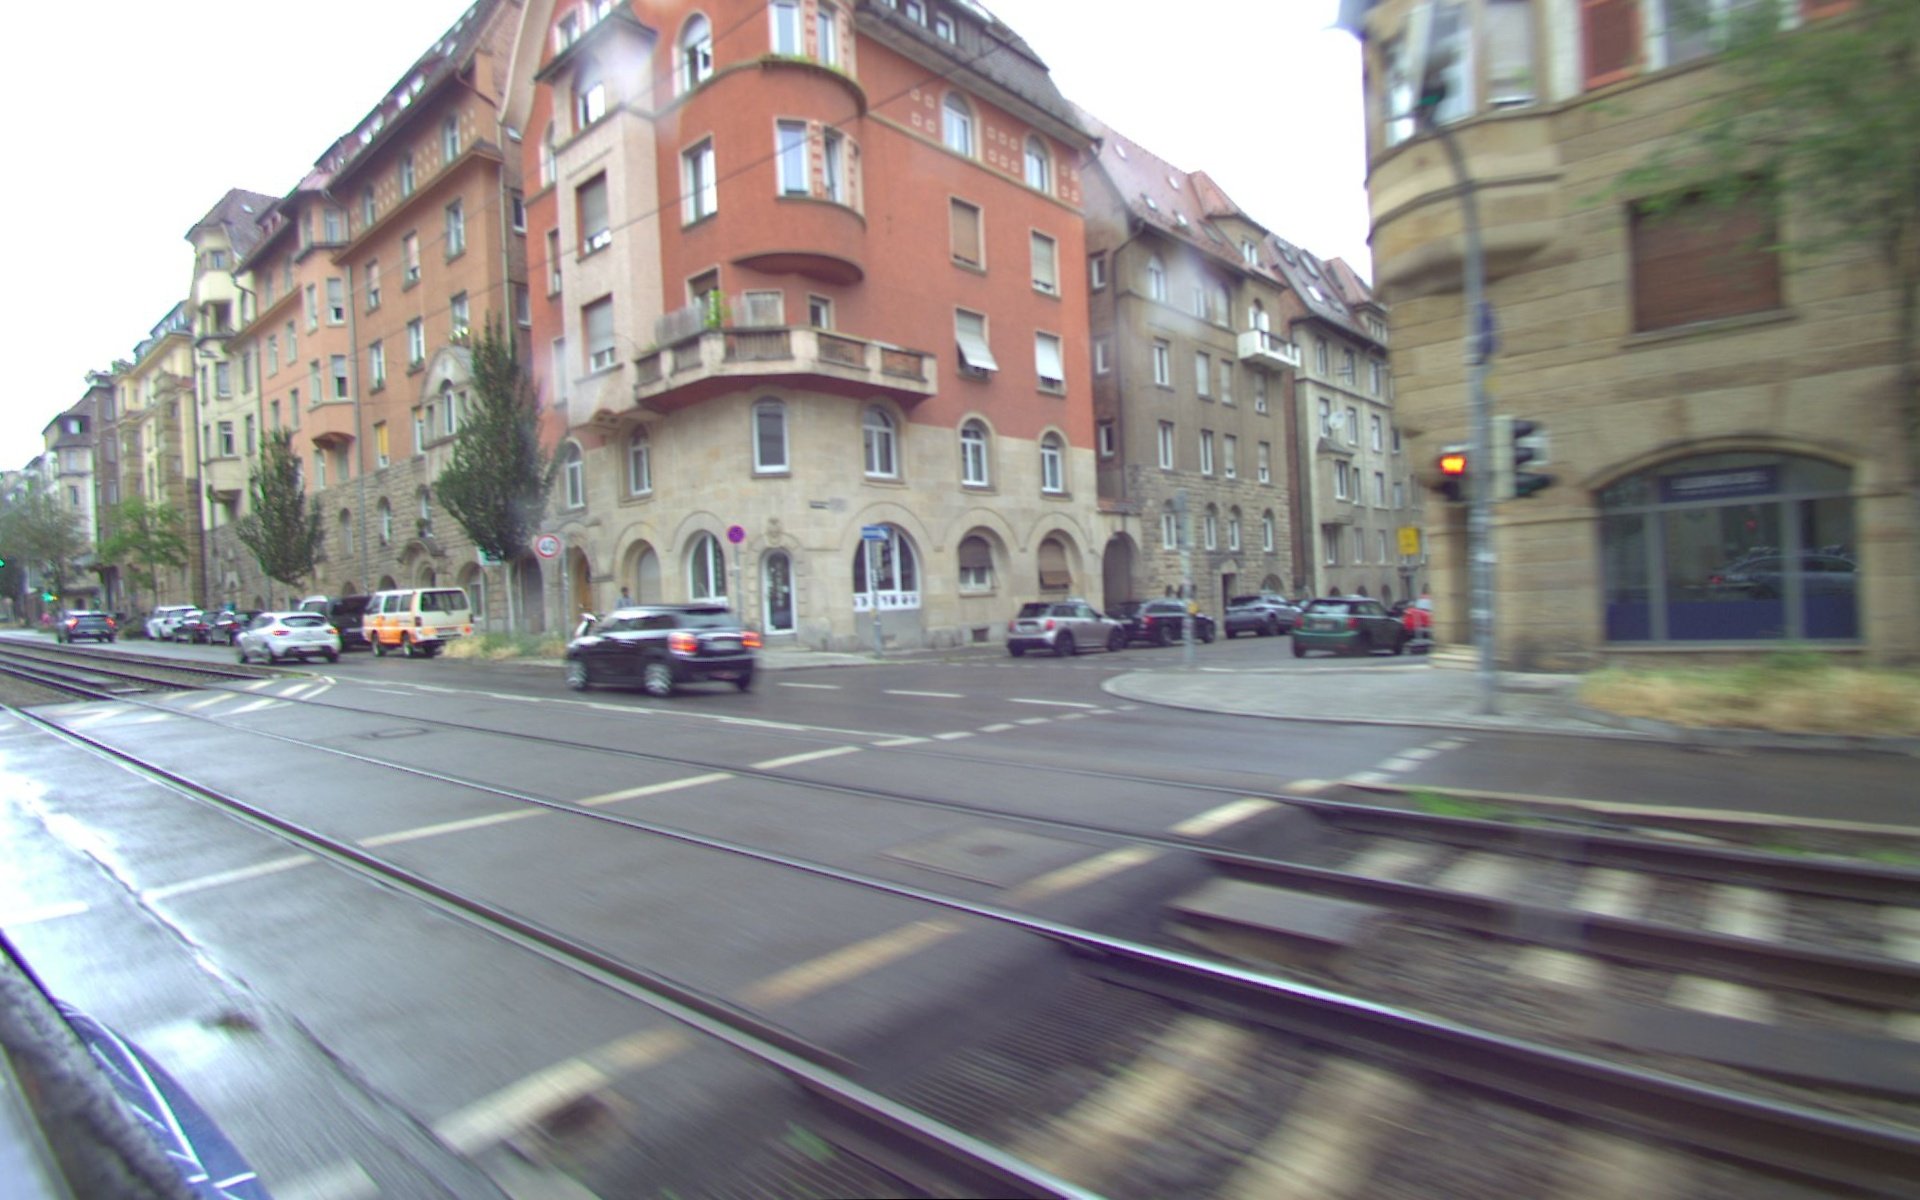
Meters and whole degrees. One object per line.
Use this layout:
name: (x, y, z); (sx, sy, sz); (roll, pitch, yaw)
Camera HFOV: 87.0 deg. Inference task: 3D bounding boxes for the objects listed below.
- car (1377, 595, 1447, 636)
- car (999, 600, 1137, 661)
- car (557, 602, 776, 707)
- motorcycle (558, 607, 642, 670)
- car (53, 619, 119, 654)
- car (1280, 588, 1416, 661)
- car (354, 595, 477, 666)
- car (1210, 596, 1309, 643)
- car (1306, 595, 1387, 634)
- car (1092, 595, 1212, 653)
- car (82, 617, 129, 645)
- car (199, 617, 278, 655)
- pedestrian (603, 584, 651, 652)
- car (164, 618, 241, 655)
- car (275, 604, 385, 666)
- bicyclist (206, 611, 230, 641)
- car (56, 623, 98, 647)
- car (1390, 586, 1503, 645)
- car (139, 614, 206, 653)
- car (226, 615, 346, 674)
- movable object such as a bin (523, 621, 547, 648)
car: (22.744, 0.755, 50.850); (2.070, 1.921, 3.945); (-1, 0, 42)
car: (2.977, 0.776, 27.390); (1.746, 1.478, 3.945); (-1, 0, 41)
car: (-4.779, 0.824, 16.221); (3.733, 1.474, 1.636); (-2, -1, 42)
motorcycle: (-8.272, 0.864, 23.311); (1.754, 1.385, 0.770); (-1, 0, -17)
car: (-44.030, 1.789, 50.968); (4.126, 1.629, 1.902); (-1, 0, 40)
car: (9.460, 0.548, 24.501); (1.997, 1.586, 3.949); (-1, 0, 38)
car: (-16.271, 0.874, 30.142); (4.473, 1.945, 1.711); (-1, 0, 40)
car: (11.006, 0.679, 37.061); (1.999, 1.586, 3.945); (-1, 0, 42)
car: (16.890, 0.606, 44.145); (1.999, 1.586, 3.945); (-1, 0, 42)
car: (5.892, 0.680, 30.781); (1.997, 1.586, 3.950); (-1, 0, 37)
car: (-52.758, 1.885, 62.460); (3.712, 1.493, 1.695); (-1, 3, 43)
car: (-30.753, 1.506, 43.105); (3.691, 1.414, 1.738); (-1, 2, 39)
pedestrian: (-8.995, 0.481, 27.322); (0.892, 1.731, 0.710); (-1, 6, 42)
car: (-34.578, 1.624, 46.147); (4.594, 1.502, 1.738); (-1, 2, 40)
car: (-21.741, 1.170, 34.850); (4.830, 1.945, 1.886); (-1, 0, 41)
bicyclist: (-41.265, 1.443, 56.276); (0.774, 1.613, 0.883); (-1, 0, 41)
car: (-61.010, 2.386, 69.886); (3.712, 1.438, 1.736); (-1, 3, 43)
car: (14.431, 0.419, 29.947); (1.999, 1.586, 3.945); (-1, 0, 42)
car: (-38.903, 1.628, 49.972); (4.257, 1.684, 1.737); (-1, 3, 41)
car: (-19.211, 1.211, 28.789); (4.059, 1.514, 1.763); (-1, 0, 40)
movable object such as a bin: (-14.834, 1.198, 35.307); (0.656, 0.905, 0.540); (-1, 0, 45)
